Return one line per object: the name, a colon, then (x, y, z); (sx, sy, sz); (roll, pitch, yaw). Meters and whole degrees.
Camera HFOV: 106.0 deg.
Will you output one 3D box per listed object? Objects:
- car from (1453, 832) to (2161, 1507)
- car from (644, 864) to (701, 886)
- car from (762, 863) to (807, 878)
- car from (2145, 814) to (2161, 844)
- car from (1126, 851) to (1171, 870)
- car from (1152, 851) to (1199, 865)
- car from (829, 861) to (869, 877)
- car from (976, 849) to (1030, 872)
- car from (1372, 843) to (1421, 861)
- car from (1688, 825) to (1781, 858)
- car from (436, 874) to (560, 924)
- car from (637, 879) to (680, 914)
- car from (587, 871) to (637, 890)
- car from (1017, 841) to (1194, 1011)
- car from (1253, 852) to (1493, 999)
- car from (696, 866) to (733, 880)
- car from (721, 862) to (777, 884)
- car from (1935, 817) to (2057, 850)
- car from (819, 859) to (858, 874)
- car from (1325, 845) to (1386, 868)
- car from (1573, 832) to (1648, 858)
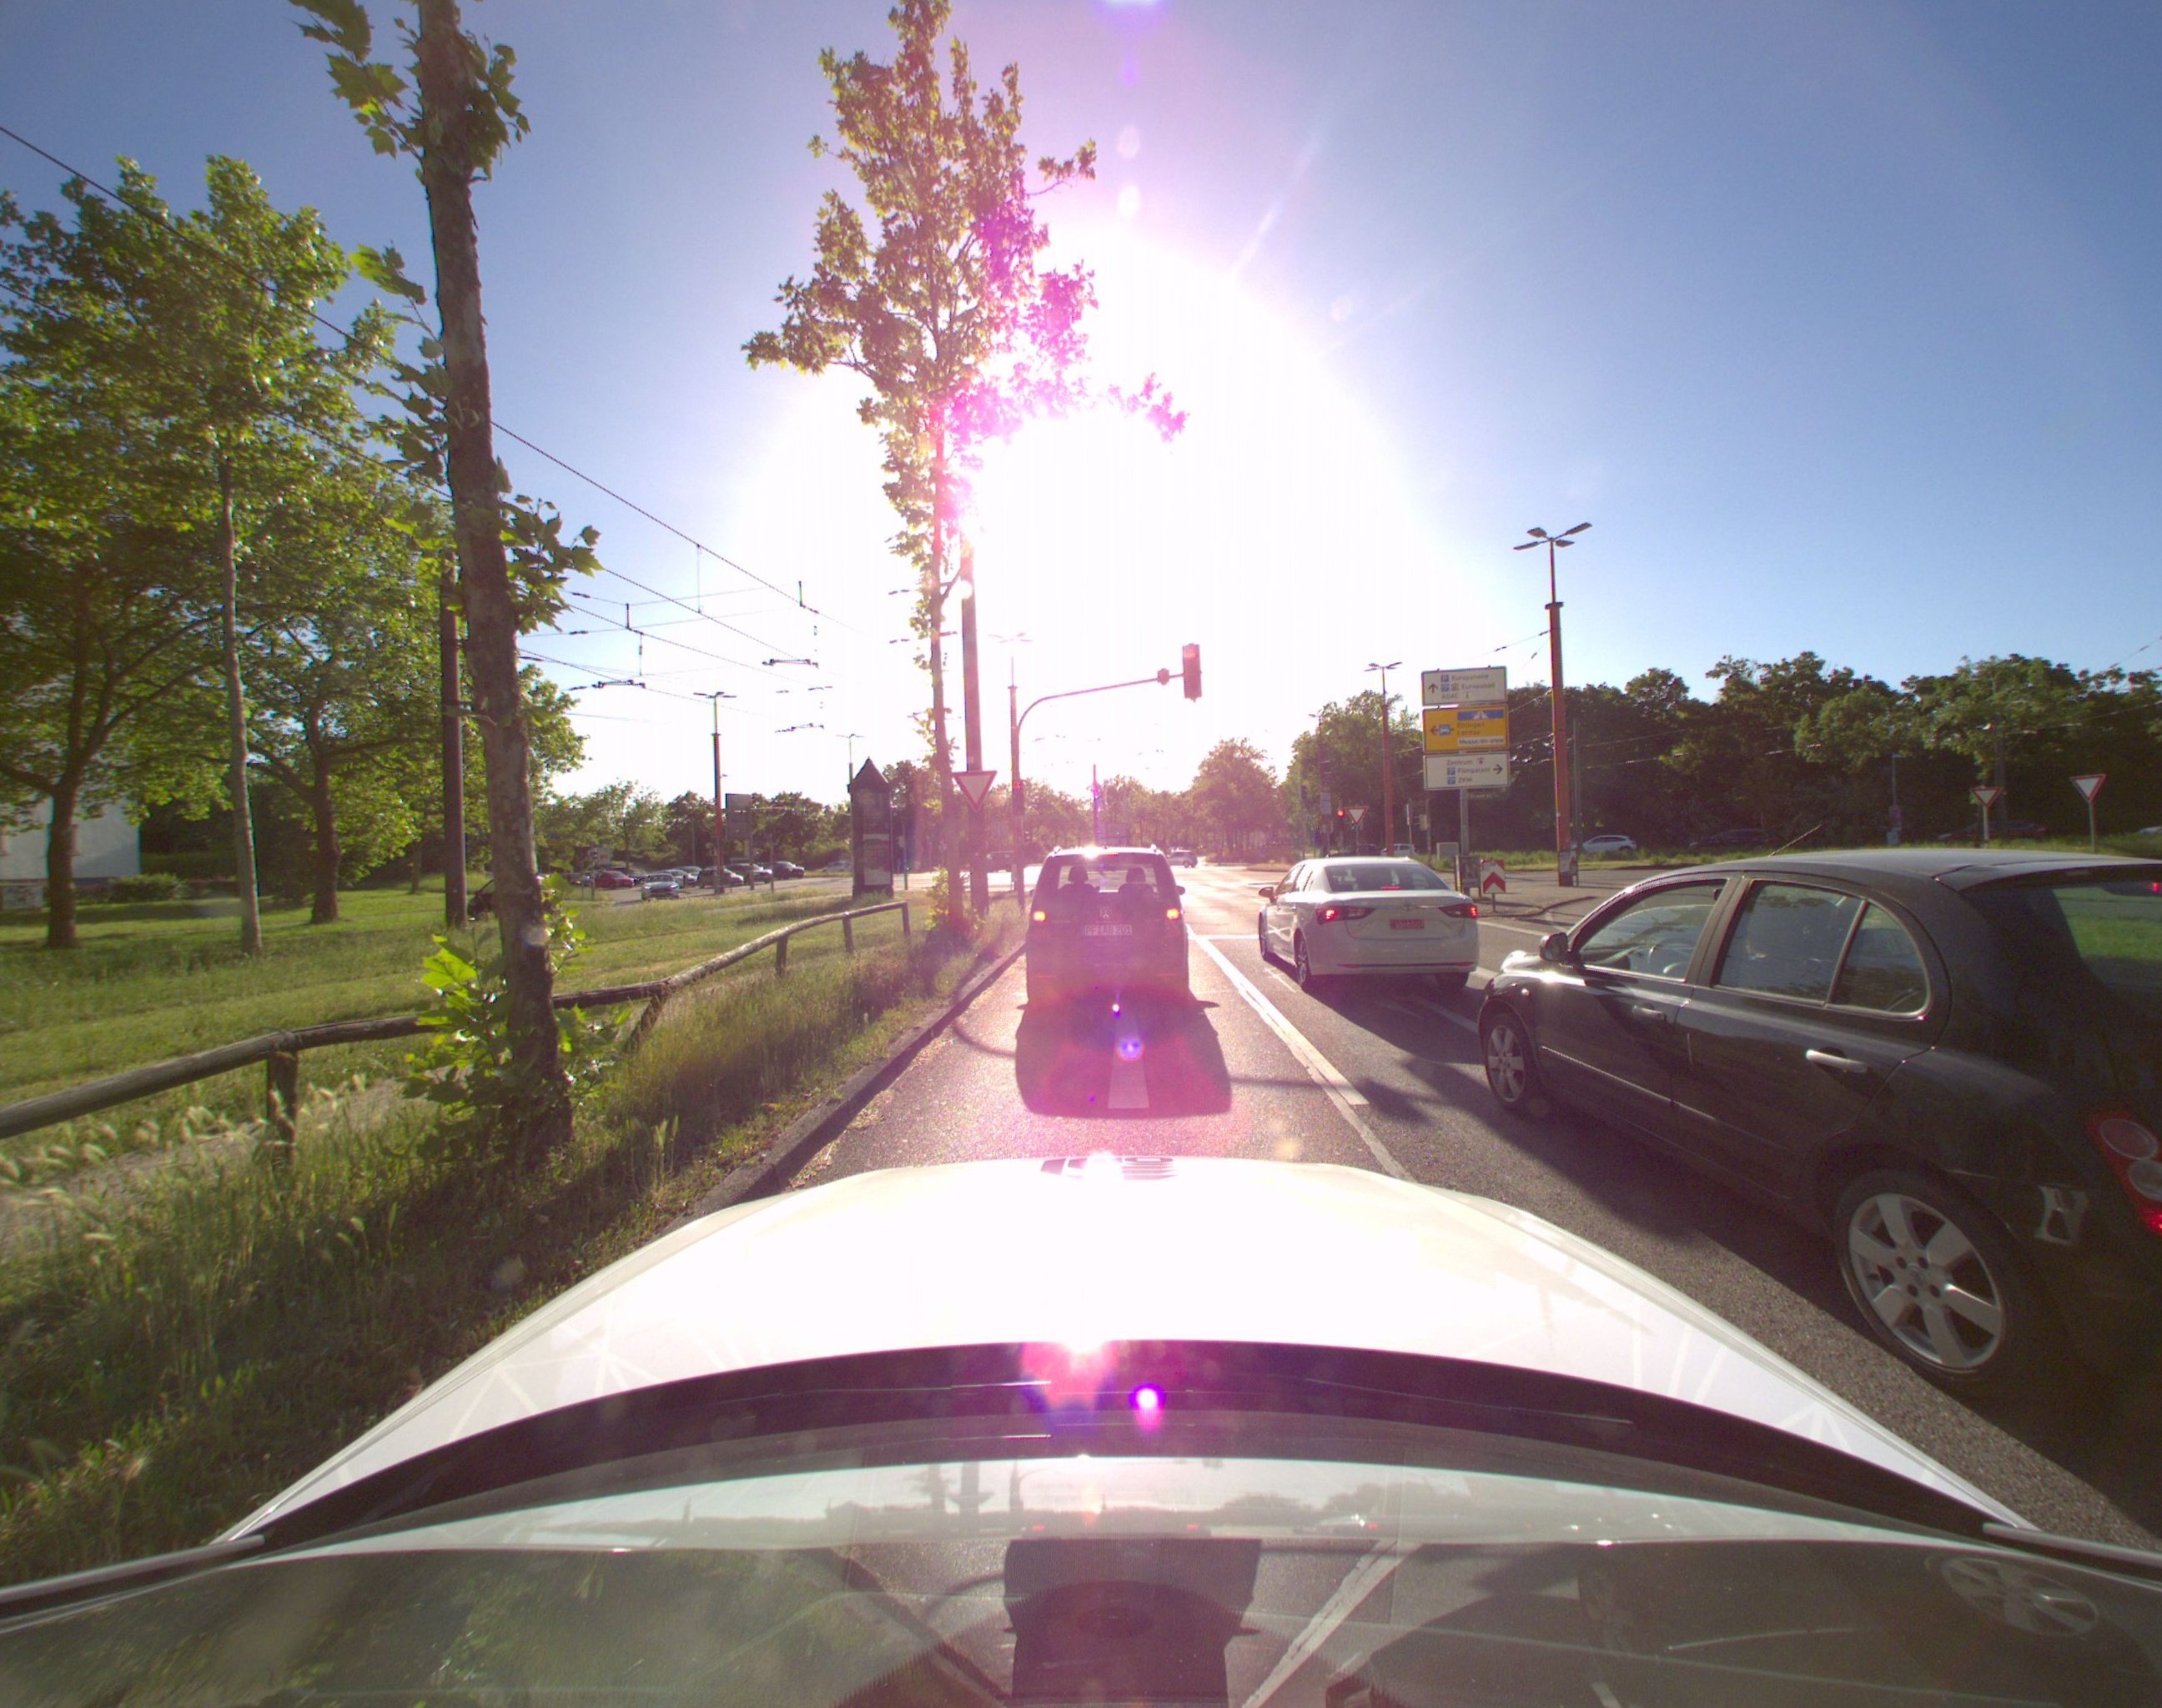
car: (3.228, 0.692, 3.600); (1.647, 1.500, 3.617); (-1, 0, 2)
car: (-32.451, 1.672, 64.701); (4.135, 1.612, 1.880); (-2, 0, 27)
car: (-26.529, 1.480, 72.854); (3.948, 1.330, 1.709); (-2, 0, 33)
car: (56.592, -1.296, 40.598); (3.961, 1.527, 1.718); (-2, 0, 30)
car: (5.618, 0.543, 67.978); (3.364, 1.457, 1.473); (-2, 0, 22)
car: (8.318, 0.360, 71.658); (3.793, 1.264, 1.612); (0, -1, 25)
car: (-26.044, 1.689, 91.487); (4.081, 1.644, 1.864); (-2, 0, 28)
car: (-7.292, 0.603, 75.875); (4.528, 2.013, 2.012); (-2, 0, 26)
car: (24.251, -0.139, 62.607); (3.404, 1.368, 1.298); (0, -1, 28)
car: (40.371, -0.763, 50.392); (4.154, 1.883, 1.777); (-2, 0, 25)
car: (-18.436, 1.392, 25.909); (1.791, 1.390, 2.850); (-2, 0, 2)
car: (-24.074, 2.361, 46.309); (2.006, 1.731, 4.799); (-1, 0, -29)
car: (-39.292, 2.198, 68.192); (3.949, 1.513, 1.743); (-2, 0, 27)
car: (0.296, 0.701, 9.933); (1.694, 1.621, 3.898); (-2, 0, 1)
car: (3.326, 0.710, 10.158); (1.713, 1.438, 4.202); (-1, 0, 3)
car: (-32.991, 1.706, 73.355); (3.129, 1.198, 1.539); (-2, 0, 33)
car: (-26.609, 1.543, 65.316); (3.950, 1.644, 2.012); (-2, 0, 26)
car: (52.404, -1.146, 46.766); (4.249, 1.705, 1.858); (-2, 0, 31)
car: (-25.276, 1.293, 84.847); (3.783, 1.523, 1.705); (-2, 0, 27)
car: (20.082, 0.185, 59.549); (3.987, 1.596, 2.012); (-2, 0, 25)
car: (36.216, -0.595, 55.843); (4.189, 1.681, 1.713); (-2, 0, 29)
